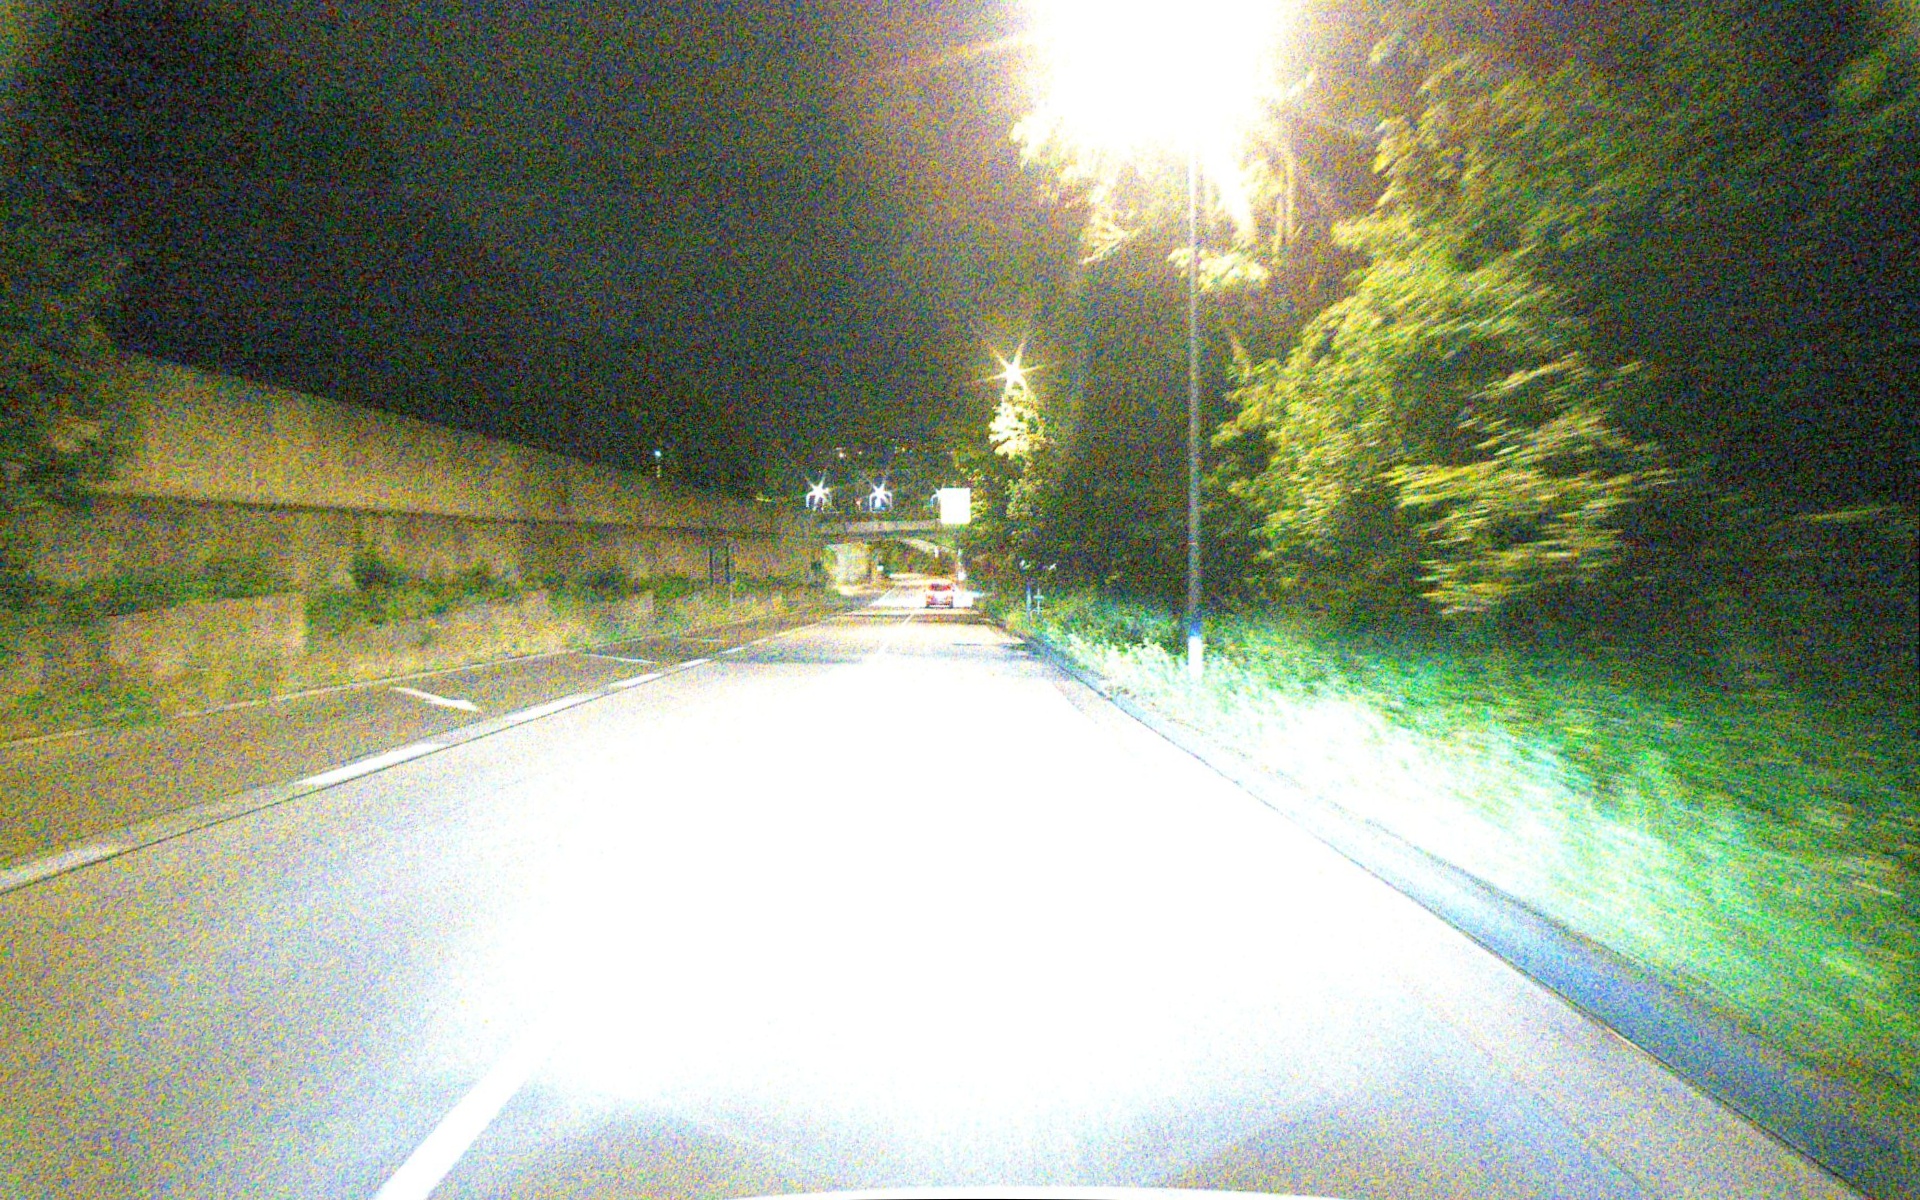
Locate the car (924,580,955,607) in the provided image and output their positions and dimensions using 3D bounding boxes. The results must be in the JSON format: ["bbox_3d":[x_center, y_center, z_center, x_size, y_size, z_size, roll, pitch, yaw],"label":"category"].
[{"bbox_3d":[-1.302,-0.430,106.690,1.726,1.670,3.725,0,2,4],"label":"car"}]
